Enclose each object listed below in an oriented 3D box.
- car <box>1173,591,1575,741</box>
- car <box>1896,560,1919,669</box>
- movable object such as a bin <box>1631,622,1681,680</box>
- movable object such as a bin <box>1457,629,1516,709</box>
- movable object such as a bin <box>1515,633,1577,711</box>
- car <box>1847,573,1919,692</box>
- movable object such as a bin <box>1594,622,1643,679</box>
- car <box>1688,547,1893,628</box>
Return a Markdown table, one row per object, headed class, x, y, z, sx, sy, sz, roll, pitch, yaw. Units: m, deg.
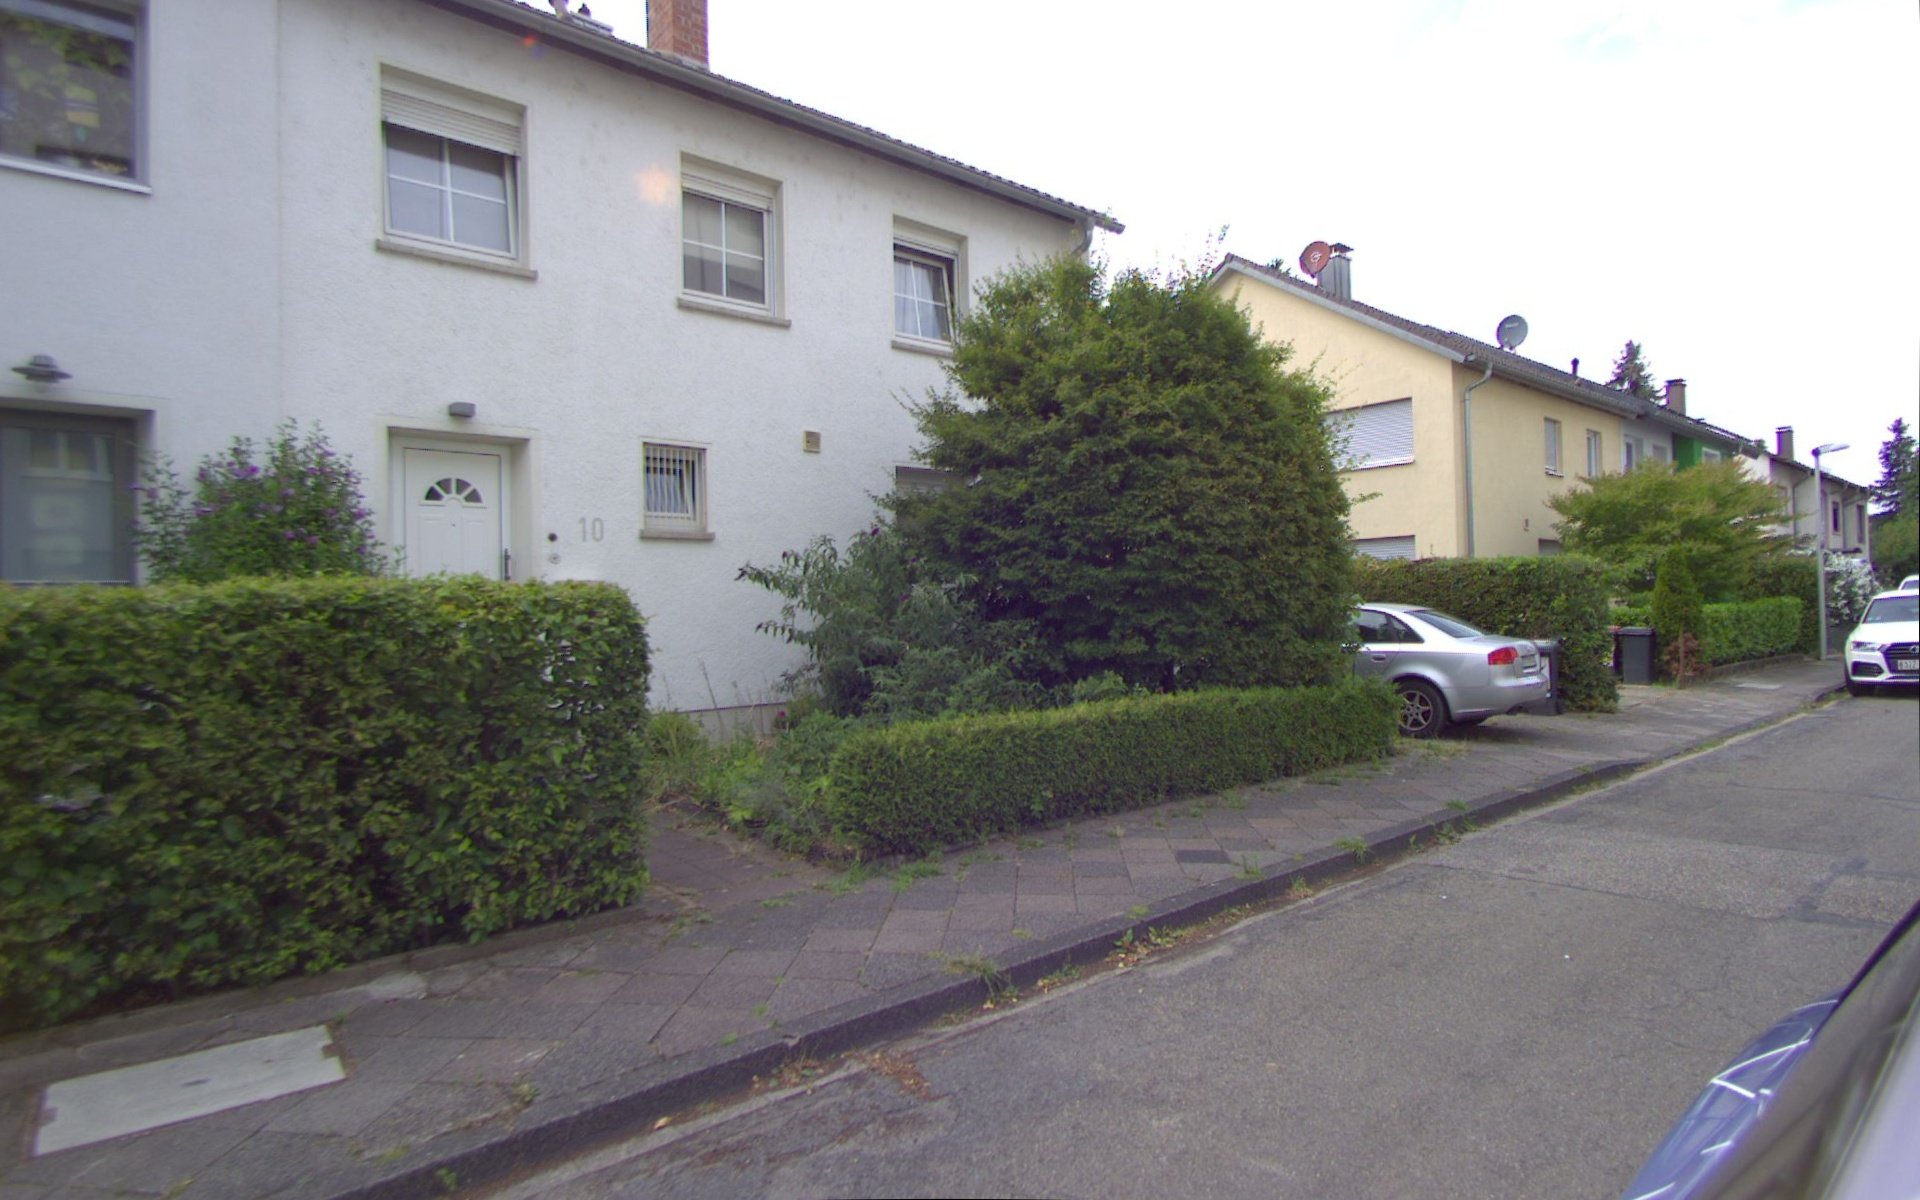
| class | x | y | z | sx | sy | sz | roll | pitch | yaw |
| --- | --- | --- | --- | --- | --- | --- | --- | --- | --- |
| car | 4.728 | 0.623 | 11.932 | 4.021 | 1.445 | 1.824 | 1 | 1 | 45 |
| car | 19.833 | 0.192 | 19.543 | 5.161 | 1.990 | 1.906 | -1 | -2 | -41 |
| movable object such as a bin | 10.990 | 0.797 | 15.977 | 0.519 | 0.879 | 0.510 | -1 | -1 | -40 |
| movable object such as a bin | 6.807 | 0.878 | 13.086 | 0.491 | 0.979 | 0.510 | 0 | -1 | -40 |
| movable object such as a bin | 7.288 | 0.882 | 12.589 | 0.491 | 0.933 | 0.510 | 0 | -1 | -40 |
| car | 15.096 | 0.422 | 15.473 | 4.092 | 1.657 | 1.826 | -1 | -2 | -43 |
| movable object such as a bin | 10.661 | 0.809 | 16.387 | 0.519 | 0.879 | 0.510 | -1 | -1 | -40 |
| car | 28.469 | -0.392 | 34.846 | 2.197 | 2.574 | 5.099 | -1 | 0 | -39 |
